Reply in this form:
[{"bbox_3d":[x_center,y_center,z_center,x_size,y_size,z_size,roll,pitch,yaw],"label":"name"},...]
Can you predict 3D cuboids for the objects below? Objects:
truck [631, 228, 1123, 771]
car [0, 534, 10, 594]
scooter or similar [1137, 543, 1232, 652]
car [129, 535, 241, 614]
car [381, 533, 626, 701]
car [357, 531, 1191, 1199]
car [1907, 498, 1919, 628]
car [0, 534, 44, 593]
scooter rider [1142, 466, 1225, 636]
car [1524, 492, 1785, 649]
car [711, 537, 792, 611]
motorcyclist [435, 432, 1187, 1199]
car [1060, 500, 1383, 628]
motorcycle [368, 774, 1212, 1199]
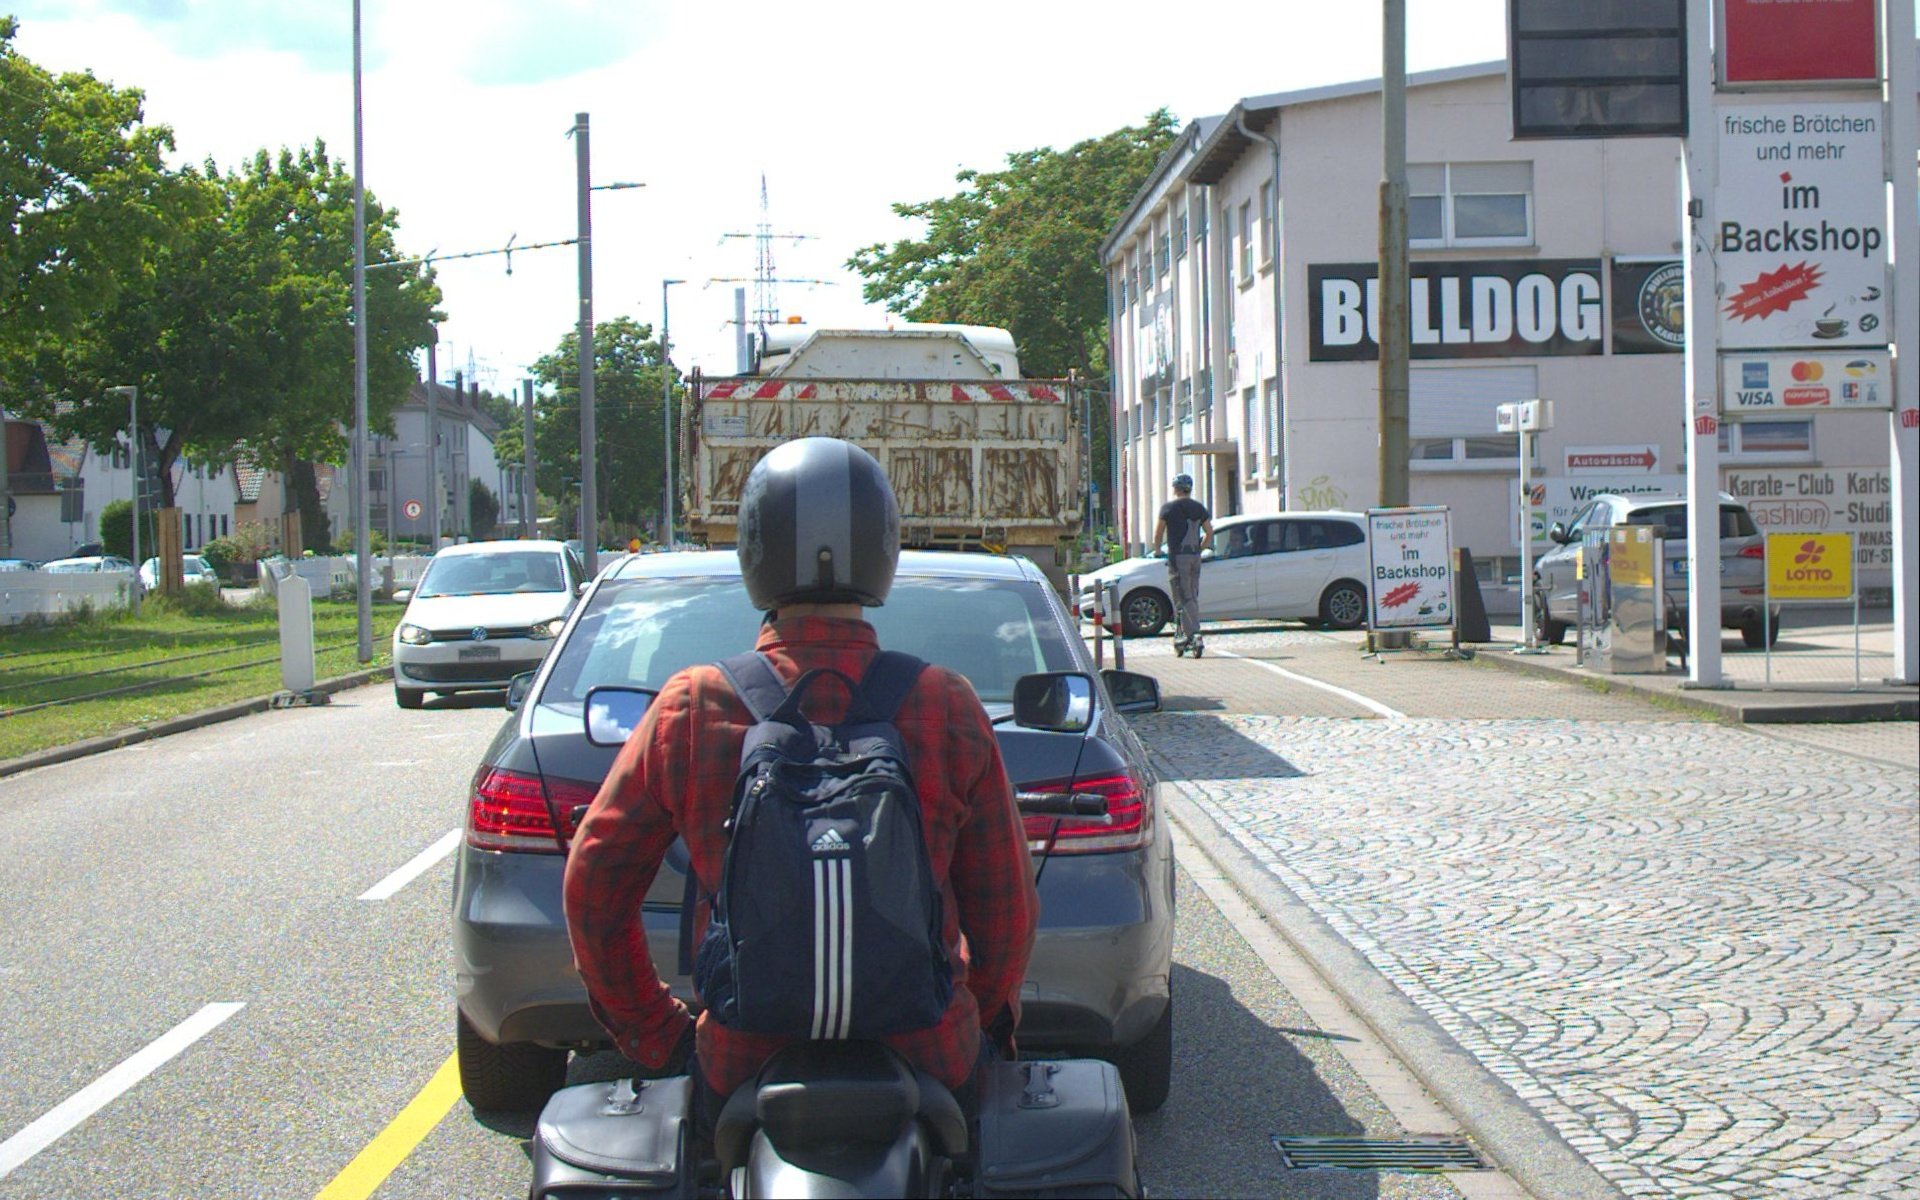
[{"bbox_3d":[-0.633,-0.717,25.471,2.970,3.293,8.408,-1,1,-2],"label":"truck"},{"bbox_3d":[-28.667,-1.000,98.581,1.698,1.733,4.062,-1,1,0],"label":"car"},{"bbox_3d":[2.429,-0.038,37.361,0.795,1.141,1.519,-1,1,-5],"label":"scooter or similar"},{"bbox_3d":[-17.938,-0.619,79.672,1.698,1.733,3.860,-1,1,0],"label":"car"},{"bbox_3d":[-4.152,0.105,31.851,1.715,1.409,4.262,-1,1,-1],"label":"car"},{"bbox_3d":[-0.471,0.569,9.720,1.832,1.474,4.010,-1,1,-2],"label":"car"},{"bbox_3d":[11.790,-0.403,37.246,1.832,1.474,4.010,-1,1,-2],"label":"car"},{"bbox_3d":[-29.262,-1.112,104.592,1.698,1.733,4.062,-1,1,0],"label":"car"},{"bbox_3d":[2.423,-0.530,37.271,0.795,1.812,0.508,-1,1,-5],"label":"scooter rider"},{"bbox_3d":[7.326,-0.343,36.648,1.832,1.530,4.010,-1,1,-2],"label":"car"},{"bbox_3d":[-4.833,-0.624,80.259,1.680,1.619,4.119,-1,1,-1],"label":"car"},{"bbox_3d":[-0.205,0.587,5.087,0.969,1.627,1.215,1,1,-1],"label":"motorcyclist"},{"bbox_3d":[3.552,-0.503,47.033,4.104,1.619,1.686,-1,1,-8],"label":"car"},{"bbox_3d":[-0.215,0.862,5.210,0.976,1.010,2.432,1,1,-1],"label":"motorcycle"}]
